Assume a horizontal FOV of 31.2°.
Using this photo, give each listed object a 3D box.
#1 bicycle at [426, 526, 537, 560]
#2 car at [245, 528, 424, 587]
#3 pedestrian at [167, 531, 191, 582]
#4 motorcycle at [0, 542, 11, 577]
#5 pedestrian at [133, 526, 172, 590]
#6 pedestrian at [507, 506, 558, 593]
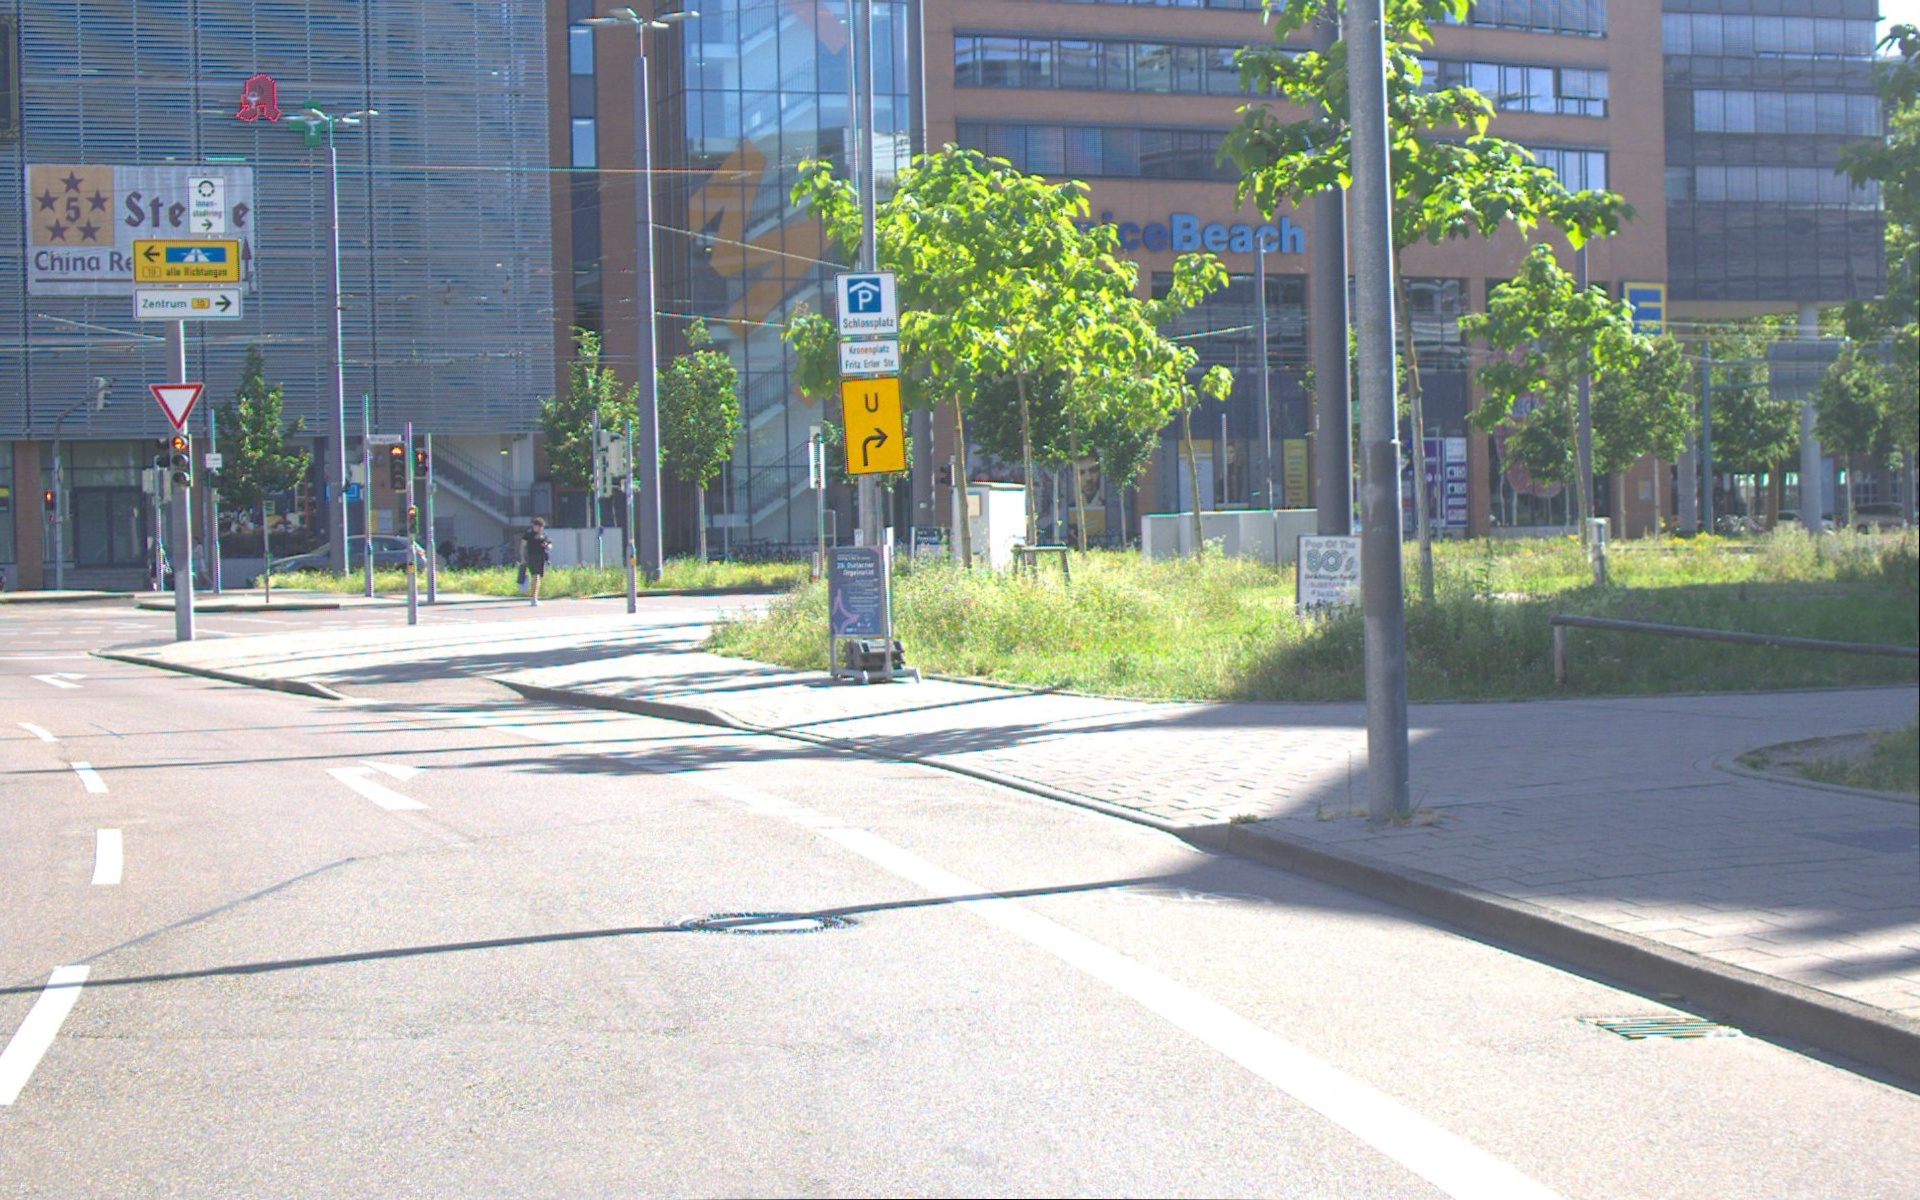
[{"bbox_3d":[-15.218,-1.825,109.326,3.359,1.073,1.117,0,2,-16],"label":"bicycle"},{"bbox_3d":[-16.727,-1.146,92.000,4.486,1.489,1.495,-2,1,-22],"label":"car"},{"bbox_3d":[-23.364,-1.299,102.836,0.589,1.529,0.658,-1,1,-23],"label":"pedestrian"},{"bbox_3d":[-29.671,-1.224,103.157,2.202,1.039,1.062,-1,2,-22],"label":"motorcycle"},{"bbox_3d":[-22.504,-1.173,95.827,0.853,1.732,0.754,-2,1,-28],"label":"pedestrian"},{"bbox_3d":[-8.522,-1.013,68.504,0.806,1.703,0.762,-1,1,-23],"label":"pedestrian"}]
